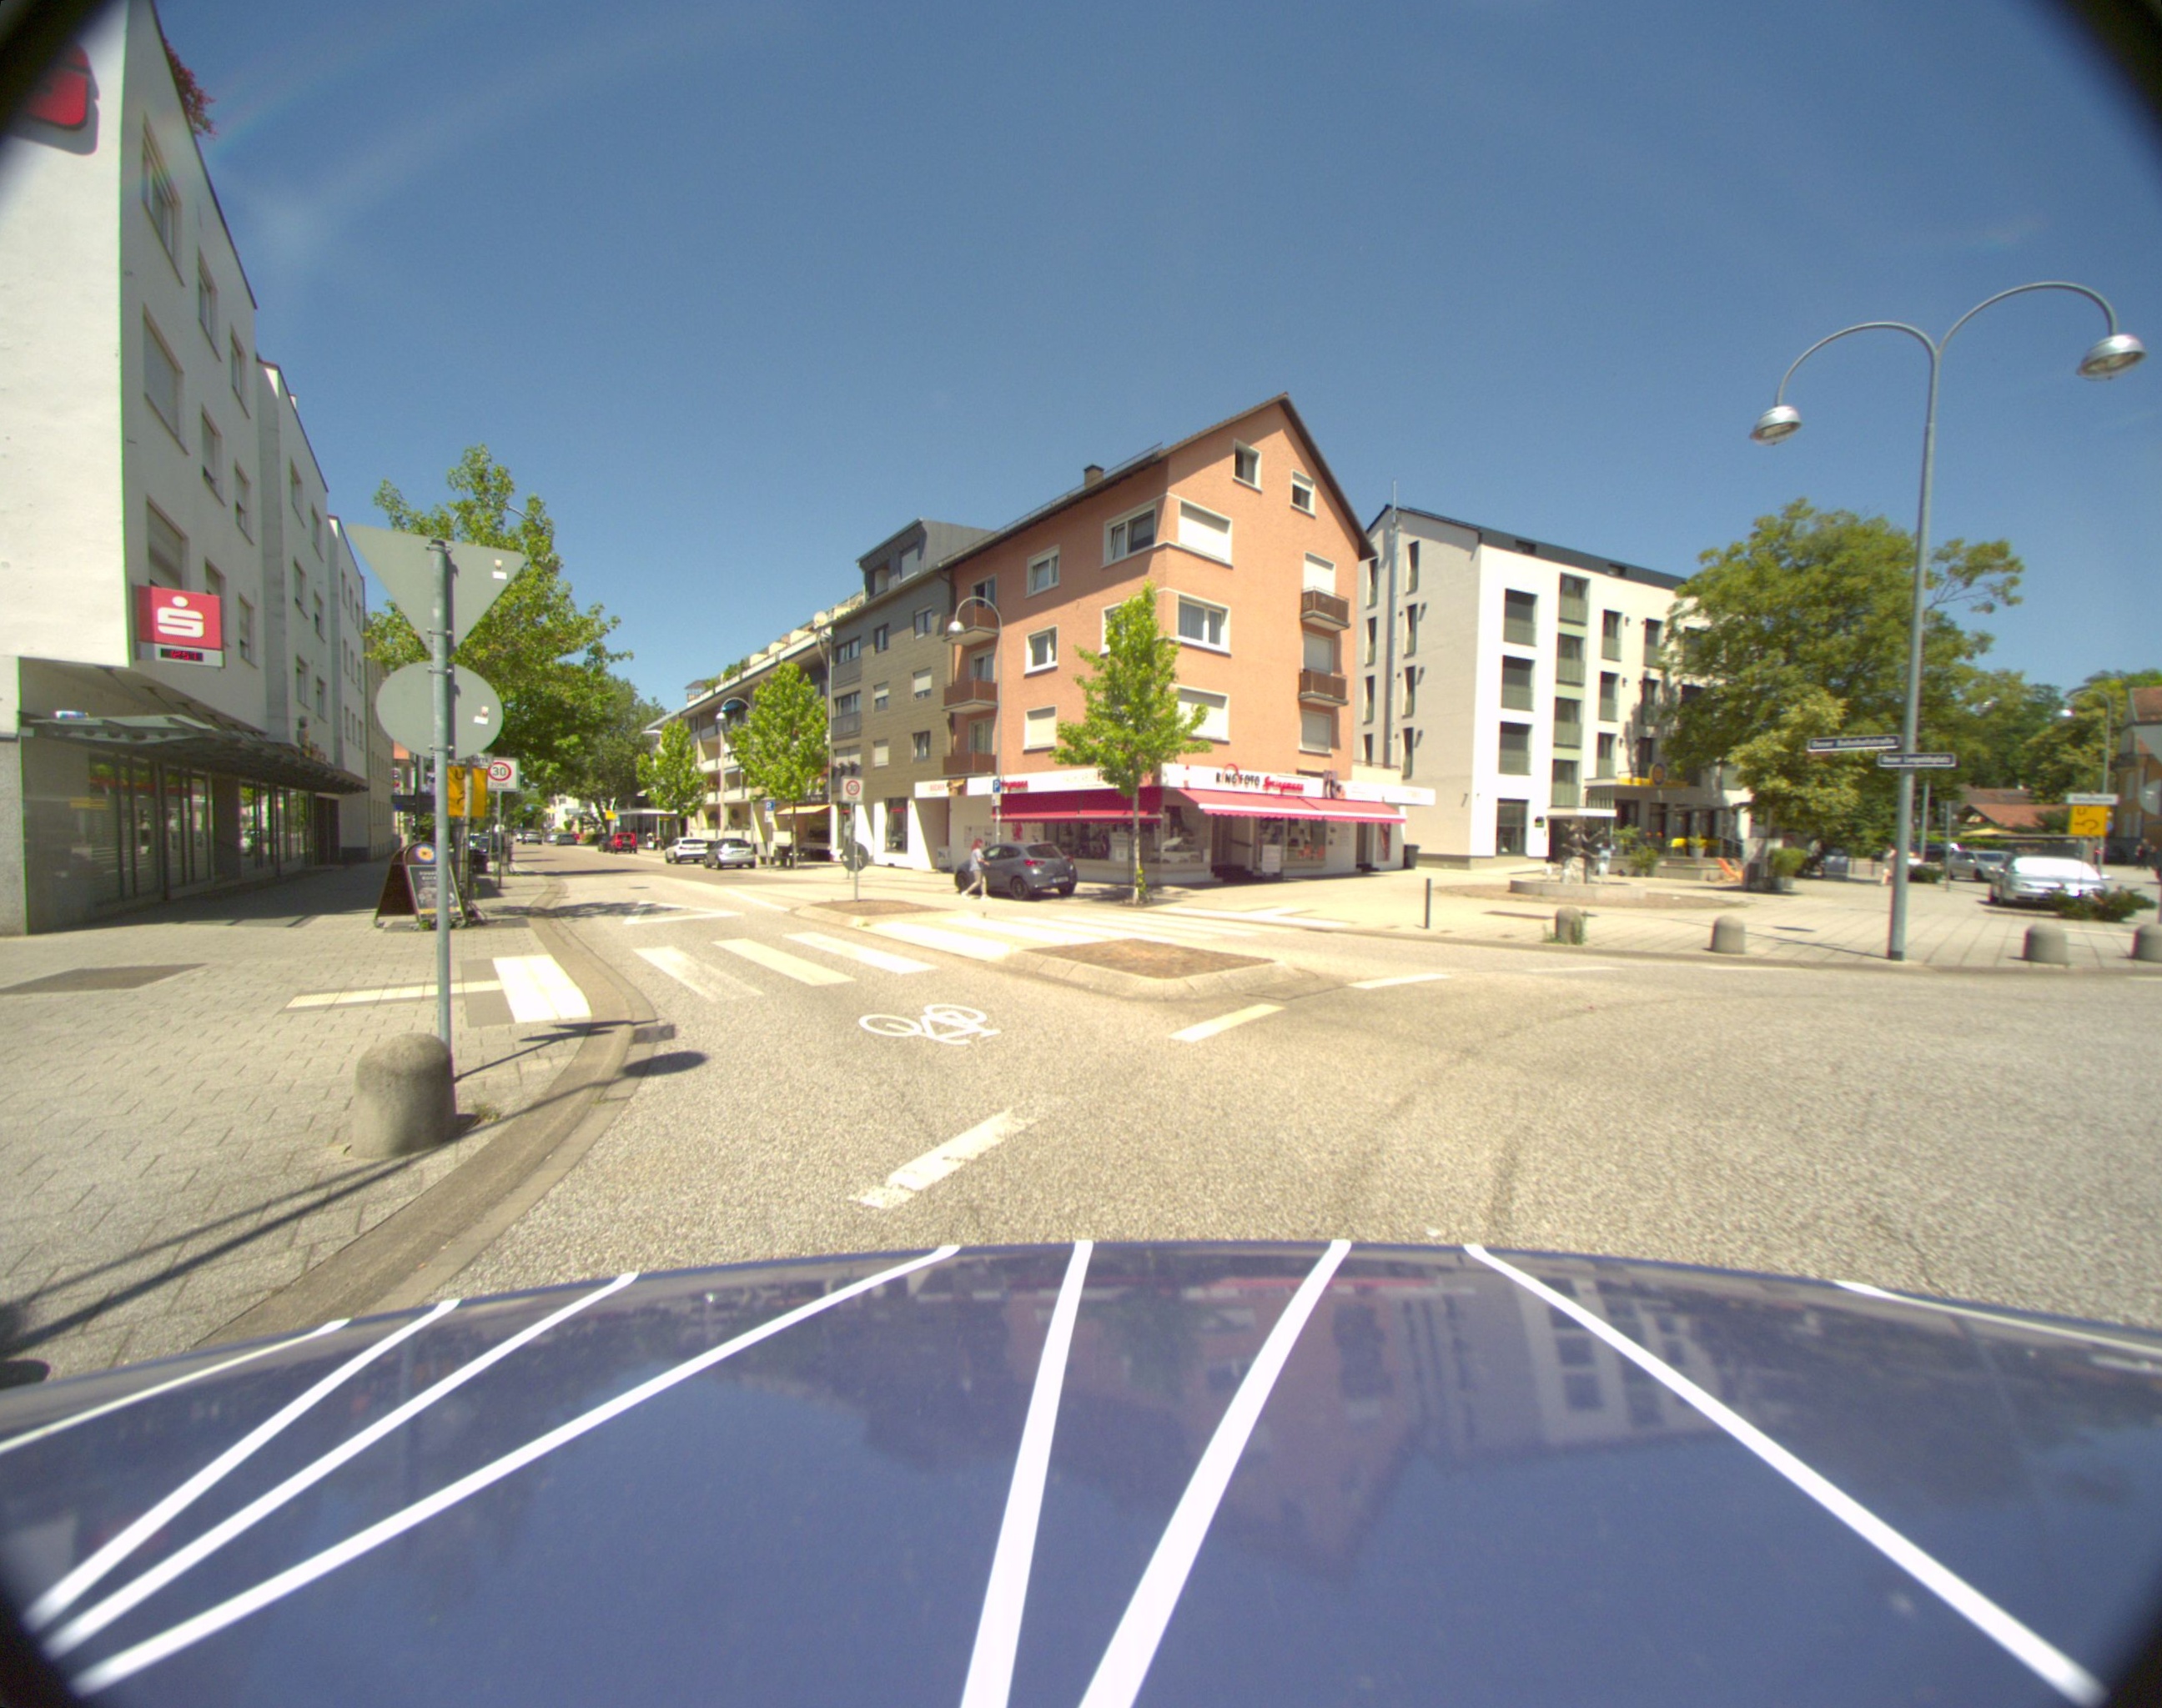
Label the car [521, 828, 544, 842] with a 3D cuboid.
[{"bbox_3d":[-69.623,-2.409,96.407,1.911,1.744,4.742,0,1,-42],"label":"car"}]

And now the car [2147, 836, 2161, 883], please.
[{"bbox_3d":[47.241,0.334,31.351,1.995,2.003,4.005,1,4,25],"label":"car"}]

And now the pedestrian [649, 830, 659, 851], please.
[{"bbox_3d":[-35.627,-1.118,63.425,0.669,1.794,0.684,0,2,-24],"label":"pedestrian"}]

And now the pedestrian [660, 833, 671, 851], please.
[{"bbox_3d":[-35.062,-1.022,64.157,0.780,1.490,0.695,0,2,-27],"label":"pedestrian"}]

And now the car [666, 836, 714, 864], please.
[{"bbox_3d":[-22.920,-0.272,44.437,1.704,1.583,4.287,-1,2,-38],"label":"car"}]

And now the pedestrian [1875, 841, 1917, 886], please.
[{"bbox_3d":[30.634,0.342,28.557,0.820,1.639,0.948,-1,2,-38],"label":"pedestrian"}]

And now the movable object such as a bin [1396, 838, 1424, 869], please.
[{"bbox_3d":[13.626,-0.022,31.457,0.839,1.246,0.745,-1,2,-37],"label":"movable object such as a bin"}]

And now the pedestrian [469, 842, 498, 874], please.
[{"bbox_3d":[-23.779,0.149,30.247,0.764,1.233,0.537,0,2,-24],"label":"pedestrian"}]

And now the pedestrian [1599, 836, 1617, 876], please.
[{"bbox_3d":[21.691,0.068,31.278,0.452,1.610,0.449,-1,3,-41],"label":"pedestrian"}]

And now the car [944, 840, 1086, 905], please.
[{"bbox_3d":[-1.869,0.408,20.543,1.675,1.478,4.048,-5,4,-42],"label":"car"}]

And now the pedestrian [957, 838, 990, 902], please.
[{"bbox_3d":[-2.749,0.402,19.436,0.735,1.601,0.558,0,2,-18],"label":"pedestrian"}]

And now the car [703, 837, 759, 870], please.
[{"bbox_3d":[-16.648,-0.070,36.081,1.630,1.465,3.537,-1,2,-38],"label":"car"}]

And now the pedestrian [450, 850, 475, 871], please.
[{"bbox_3d":[-24.601,0.259,30.225,0.681,0.847,0.536,1,2,-26],"label":"pedestrian"}]

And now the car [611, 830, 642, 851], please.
[{"bbox_3d":[-37.633,-1.112,62.880,1.649,1.653,3.360,-3,4,-38],"label":"car"}]

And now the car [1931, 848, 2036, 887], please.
[{"bbox_3d":[42.533,0.598,35.936,1.994,1.647,4.211,1,2,33],"label":"car"}]

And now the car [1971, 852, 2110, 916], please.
[{"bbox_3d":[26.149,0.736,20.856,1.791,1.516,4.008,2,2,44],"label":"car"}]

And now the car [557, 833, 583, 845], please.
[{"bbox_3d":[-63.660,-1.895,94.607,2.004,1.412,3.988,-1,2,-43],"label":"car"}]

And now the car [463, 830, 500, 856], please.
[{"bbox_3d":[-40.767,-0.769,51.656,1.697,1.712,4.121,-1,2,-41],"label":"car"}]

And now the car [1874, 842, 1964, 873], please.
[{"bbox_3d":[57.686,0.212,52.362,2.004,2.002,3.988,-1,2,-38],"label":"car"}]

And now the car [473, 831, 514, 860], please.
[{"bbox_3d":[-36.864,-0.537,47.614,1.698,1.712,3.988,2,0,-42],"label":"car"}]
